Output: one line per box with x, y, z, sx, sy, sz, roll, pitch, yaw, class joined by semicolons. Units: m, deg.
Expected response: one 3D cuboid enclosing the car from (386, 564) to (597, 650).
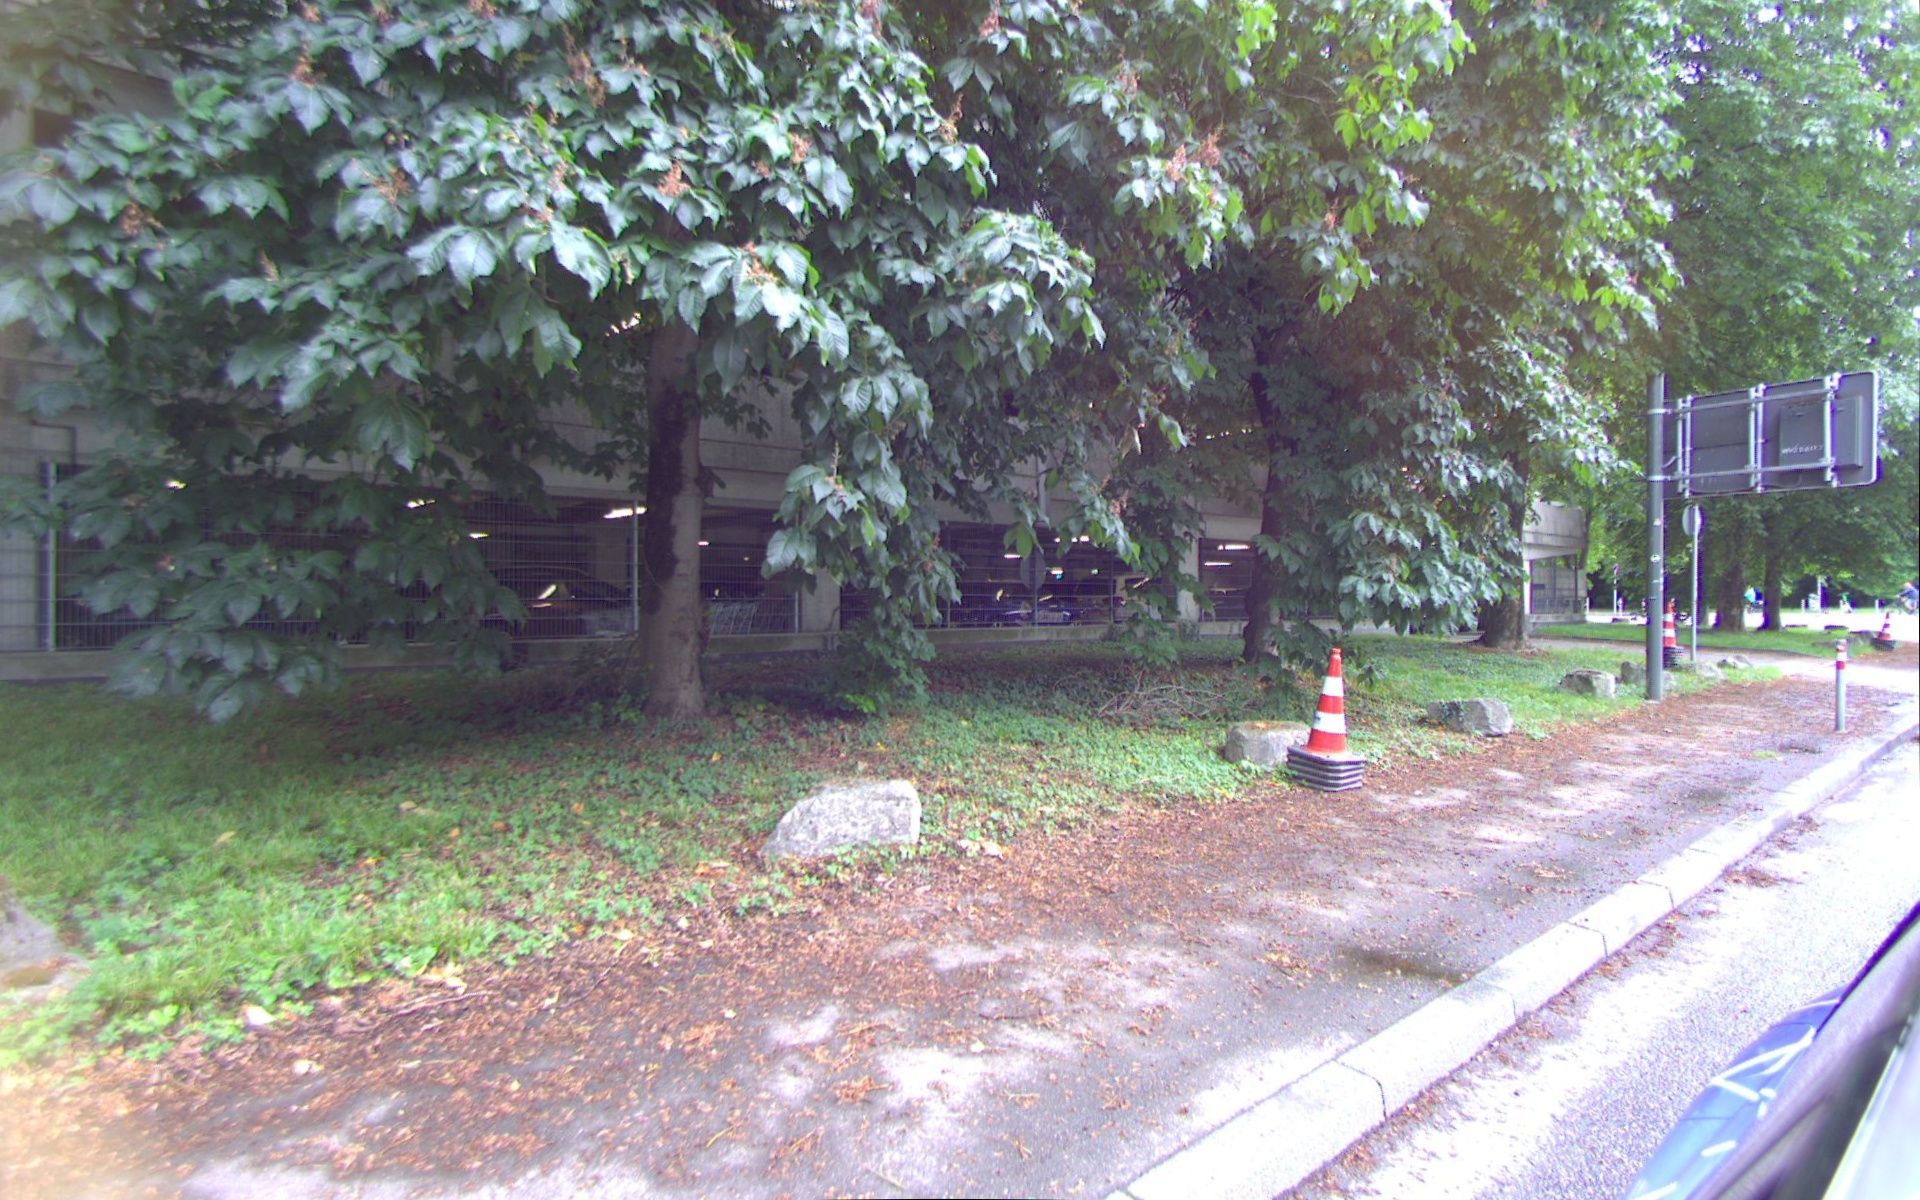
-9.755;0.105;21.204;3.639;1.627;1.718;-2;1;-42;car

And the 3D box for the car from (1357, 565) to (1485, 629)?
14.544;-0.091;31.809;4.653;1.858;1.922;-1;0;-41;car

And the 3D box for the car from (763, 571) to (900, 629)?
-3.729;-0.012;29.698;3.639;1.565;1.718;-2;1;-42;car

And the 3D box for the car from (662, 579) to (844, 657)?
-4.588;0.358;22.701;3.639;1.565;1.718;-2;1;-42;car

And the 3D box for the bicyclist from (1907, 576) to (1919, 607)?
47.595;-0.427;49.970;0.912;1.514;1.099;-3;1;-42;bicyclist

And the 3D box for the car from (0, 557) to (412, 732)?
-10.332;0.469;13.897;4.594;2.039;1.996;-2;0;-41;car

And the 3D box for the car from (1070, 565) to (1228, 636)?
5.076;-0.034;26.821;4.587;1.730;1.588;-2;0;-41;car

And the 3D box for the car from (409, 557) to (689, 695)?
-6.872;0.341;17.084;3.929;2.039;1.997;-2;0;-40;car

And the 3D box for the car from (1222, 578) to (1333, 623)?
11.362;0.001;36.147;3.927;1.471;1.876;-2;1;-38;car

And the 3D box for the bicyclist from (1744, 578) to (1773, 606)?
43.361;-0.440;54.948;0.731;1.448;1.156;-2;0;-44;bicyclist

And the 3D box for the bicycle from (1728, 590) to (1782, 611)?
43.252;0.039;55.080;0.736;1.137;2.252;-2;0;-44;bicycle

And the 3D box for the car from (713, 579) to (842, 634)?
-5.716;0.173;31.861;3.638;1.565;1.719;-2;1;-41;car

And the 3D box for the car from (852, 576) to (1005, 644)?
-0.762;0.222;25.801;3.639;1.565;1.718;-2;1;-42;car

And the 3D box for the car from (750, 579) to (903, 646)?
-3.450;0.288;26.544;3.639;1.565;1.718;-2;1;-42;car

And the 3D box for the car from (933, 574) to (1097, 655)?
1.353;0.289;23.808;3.791;1.730;1.588;-2;0;-41;car

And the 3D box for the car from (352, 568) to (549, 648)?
-11.444;0.135;22.848;3.639;1.627;1.718;-2;1;-42;car

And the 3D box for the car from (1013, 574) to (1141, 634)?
3.449;0.077;29.416;3.629;1.606;1.718;-2;1;-42;car

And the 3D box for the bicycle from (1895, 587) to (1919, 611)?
47.607;-0.073;49.966;0.765;1.157;2.047;-3;1;-42;bicycle
